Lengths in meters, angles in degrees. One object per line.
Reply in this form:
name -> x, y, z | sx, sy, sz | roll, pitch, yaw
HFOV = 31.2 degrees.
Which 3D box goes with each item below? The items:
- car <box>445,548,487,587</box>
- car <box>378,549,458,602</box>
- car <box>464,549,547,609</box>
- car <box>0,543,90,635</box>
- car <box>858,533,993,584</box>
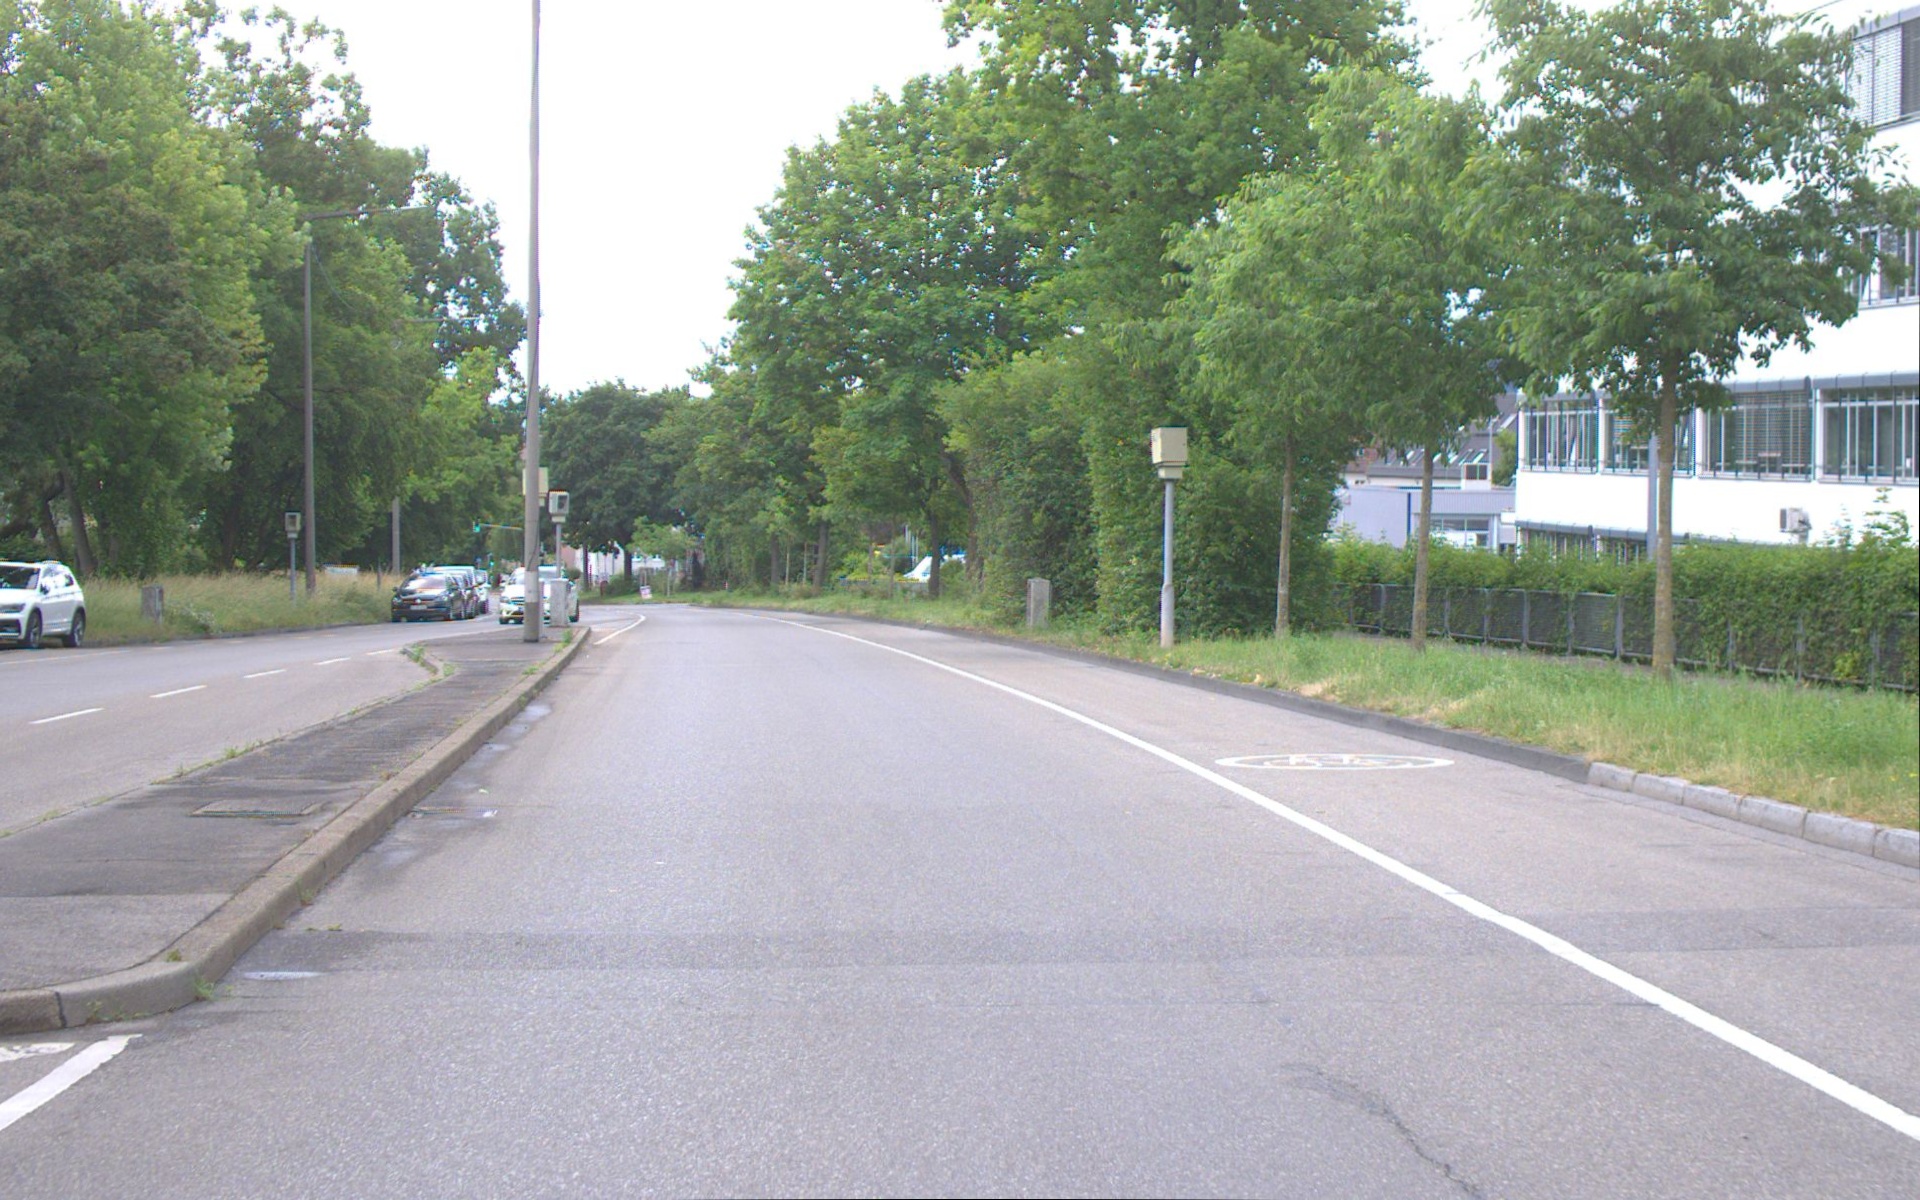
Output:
car -> -20.548, -1.336, 142.970 | 1.673, 1.559, 4.282 | -1, 0, -8
car -> -16.291, -0.732, 103.470 | 1.875, 1.565, 4.651 | 0, 0, -3
car -> -12.334, -0.556, 93.479 | 1.875, 1.565, 4.339 | 0, 0, -3
car -> -17.840, -0.202, 64.187 | 1.875, 1.661, 4.390 | 0, 0, 3
car -> -1.624, -1.937, 162.763 | 6.010, 2.359, 2.362 | 0, 0, -30
